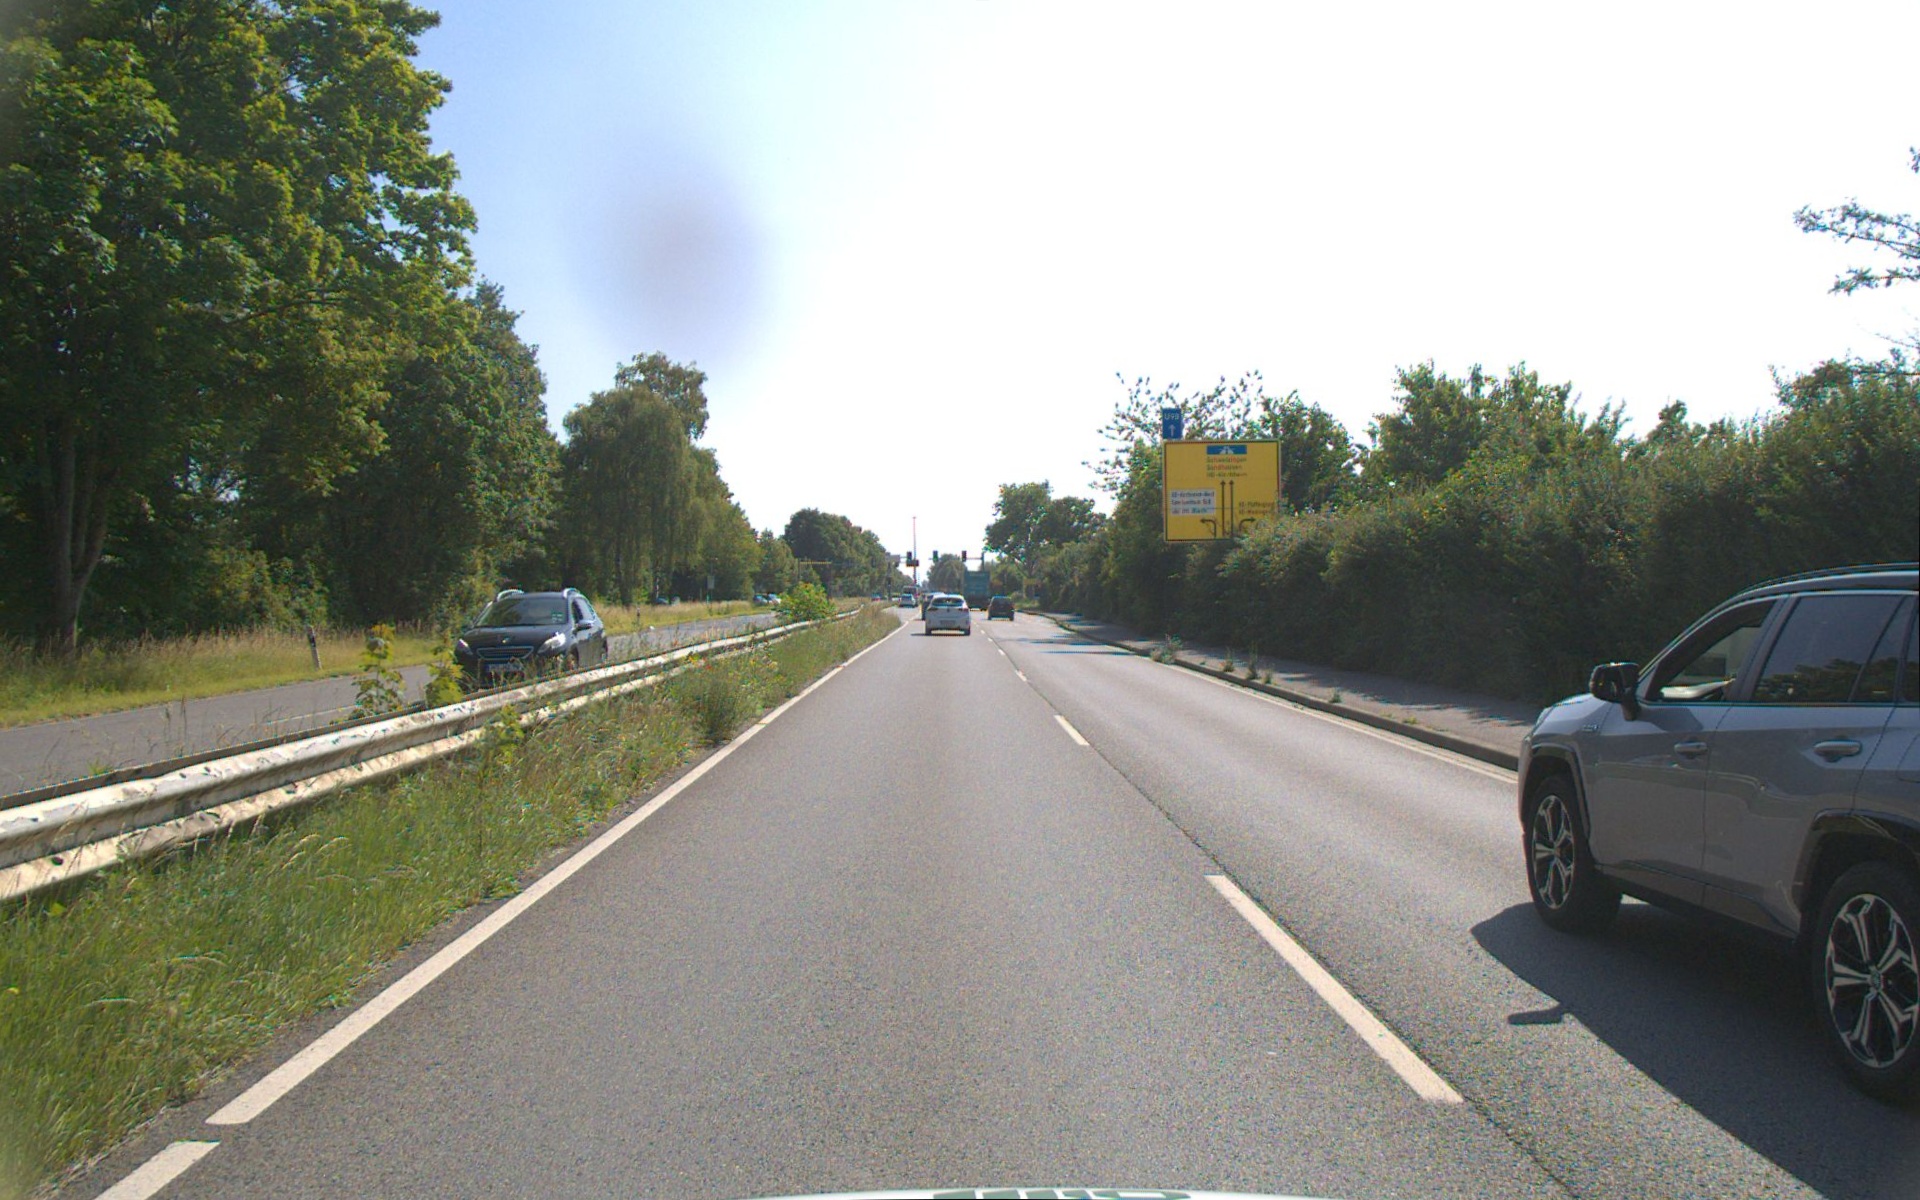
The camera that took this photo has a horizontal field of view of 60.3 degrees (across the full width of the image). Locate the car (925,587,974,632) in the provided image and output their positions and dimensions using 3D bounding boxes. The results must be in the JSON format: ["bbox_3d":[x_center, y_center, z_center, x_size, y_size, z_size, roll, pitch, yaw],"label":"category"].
[{"bbox_3d":[-0.396,0.330,61.596,1.762,1.580,4.000,0,1,0],"label":"car"}]

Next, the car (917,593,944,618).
[{"bbox_3d":[-1.719,0.316,95.892,1.540,1.439,3.277,0,0,-1],"label":"car"}]

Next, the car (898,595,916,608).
[{"bbox_3d":[-5.916,0.151,186.083,1.775,1.490,4.971,0,0,1],"label":"car"}]

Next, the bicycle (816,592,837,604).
[{"bbox_3d":[-19.091,-0.272,236.908,2.737,1.699,1.135,-1,0,26],"label":"bicycle"}]

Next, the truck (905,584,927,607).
[{"bbox_3d":[-5.135,-0.533,193.269,2.325,2.430,6.043,1,2,1],"label":"truck"}]

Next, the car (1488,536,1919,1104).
[{"bbox_3d":[3.797,0.662,6.487,1.863,1.709,4.682,1,0,-1],"label":"car"}]

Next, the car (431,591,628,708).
[{"bbox_3d":[-6.394,0.679,25.031,1.742,1.557,4.162,-2,0,1],"label":"car"}]

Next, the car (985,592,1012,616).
[{"bbox_3d":[2.389,0.269,102.319,1.540,1.439,3.277,0,0,-1],"label":"car"}]

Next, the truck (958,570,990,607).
[{"bbox_3d":[1.362,-1.159,161.809,2.833,3.488,9.167,-1,0,-1],"label":"truck"}]
